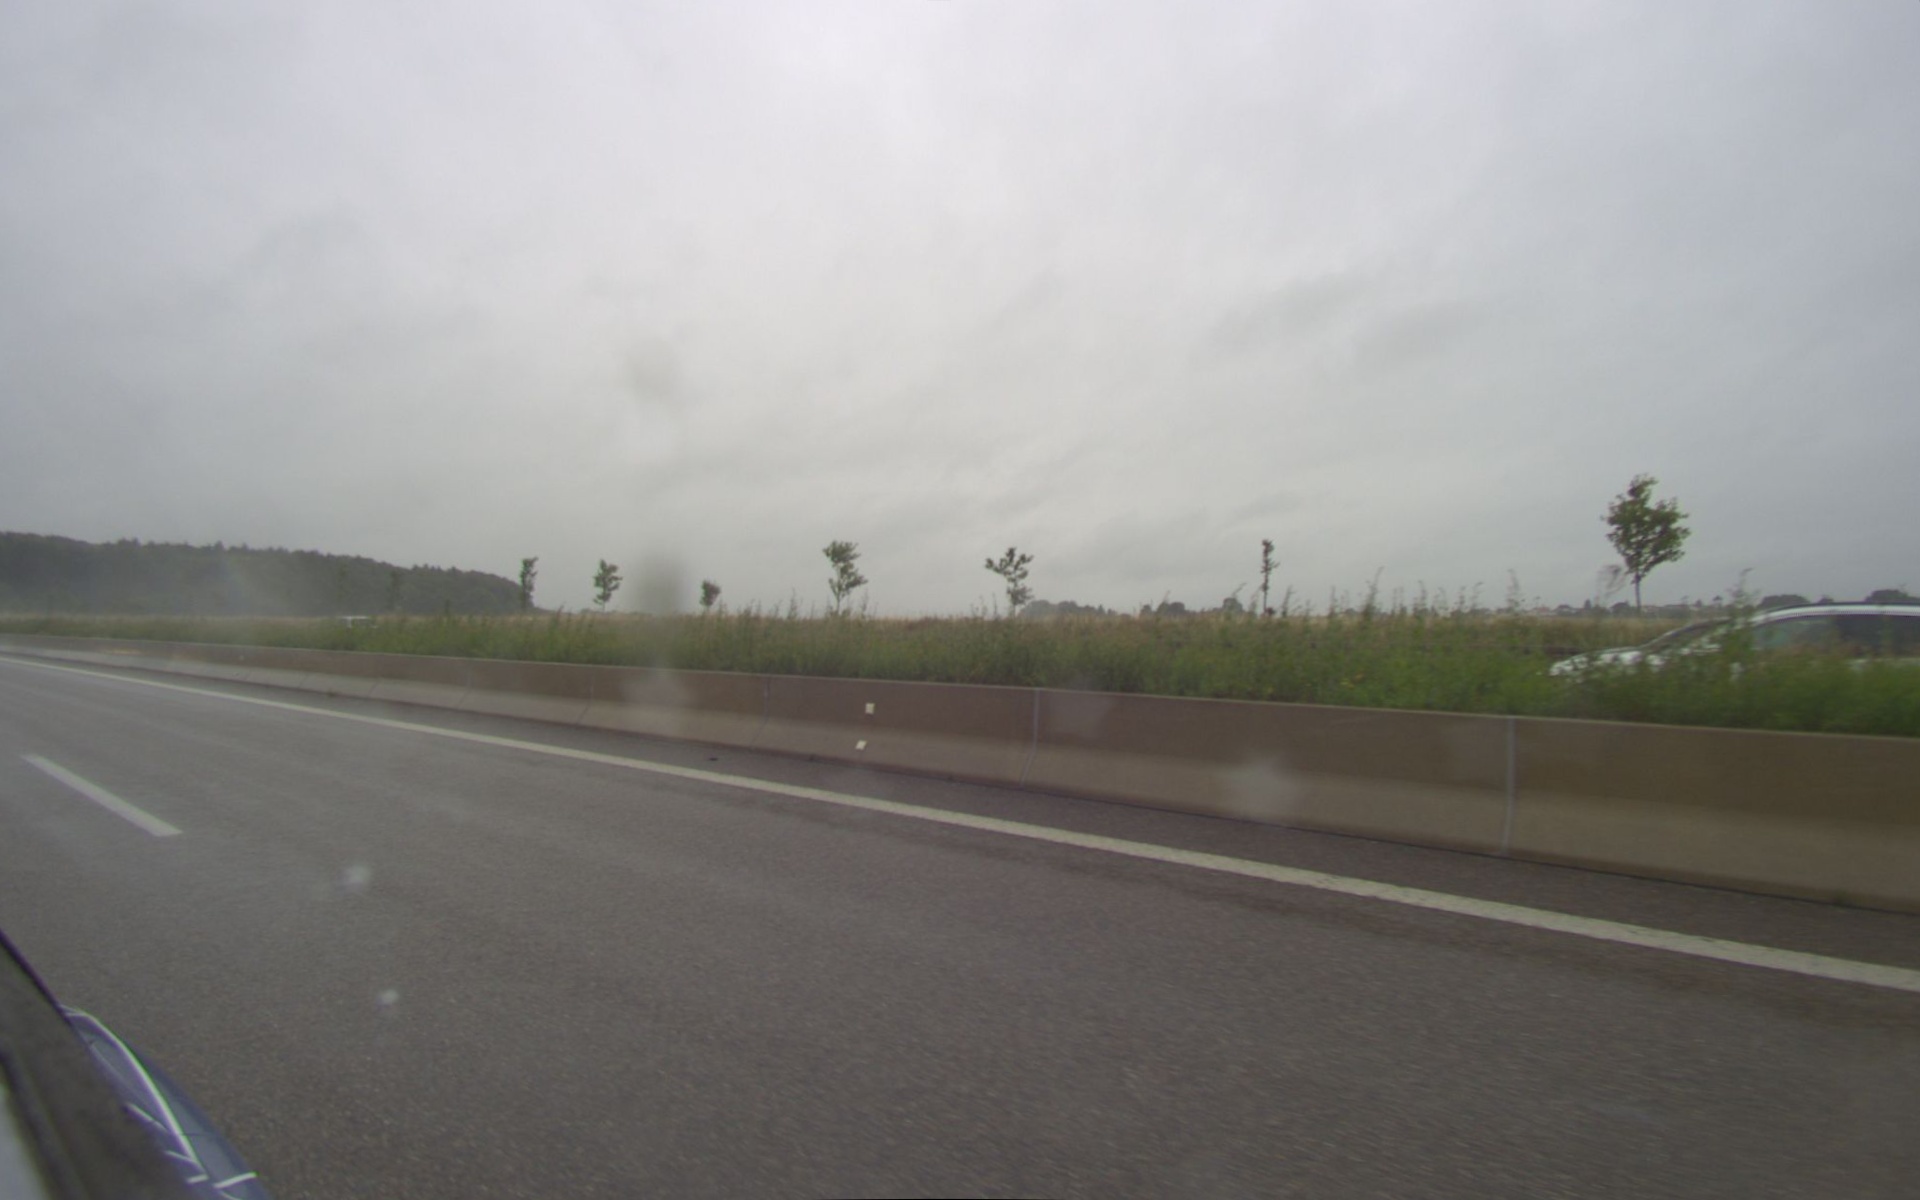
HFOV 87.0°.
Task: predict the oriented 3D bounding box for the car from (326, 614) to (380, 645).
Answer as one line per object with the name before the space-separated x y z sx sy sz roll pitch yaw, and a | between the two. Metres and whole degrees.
car | -29.832 1.438 49.703 3.203 1.392 1.345 0 0 41

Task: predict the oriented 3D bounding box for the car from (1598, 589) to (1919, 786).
car | 8.202 0.720 9.155 3.936 1.630 1.563 0 0 41

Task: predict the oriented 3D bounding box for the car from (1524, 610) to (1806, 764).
car | 10.669 1.198 15.414 3.383 2.029 1.612 0 0 41
